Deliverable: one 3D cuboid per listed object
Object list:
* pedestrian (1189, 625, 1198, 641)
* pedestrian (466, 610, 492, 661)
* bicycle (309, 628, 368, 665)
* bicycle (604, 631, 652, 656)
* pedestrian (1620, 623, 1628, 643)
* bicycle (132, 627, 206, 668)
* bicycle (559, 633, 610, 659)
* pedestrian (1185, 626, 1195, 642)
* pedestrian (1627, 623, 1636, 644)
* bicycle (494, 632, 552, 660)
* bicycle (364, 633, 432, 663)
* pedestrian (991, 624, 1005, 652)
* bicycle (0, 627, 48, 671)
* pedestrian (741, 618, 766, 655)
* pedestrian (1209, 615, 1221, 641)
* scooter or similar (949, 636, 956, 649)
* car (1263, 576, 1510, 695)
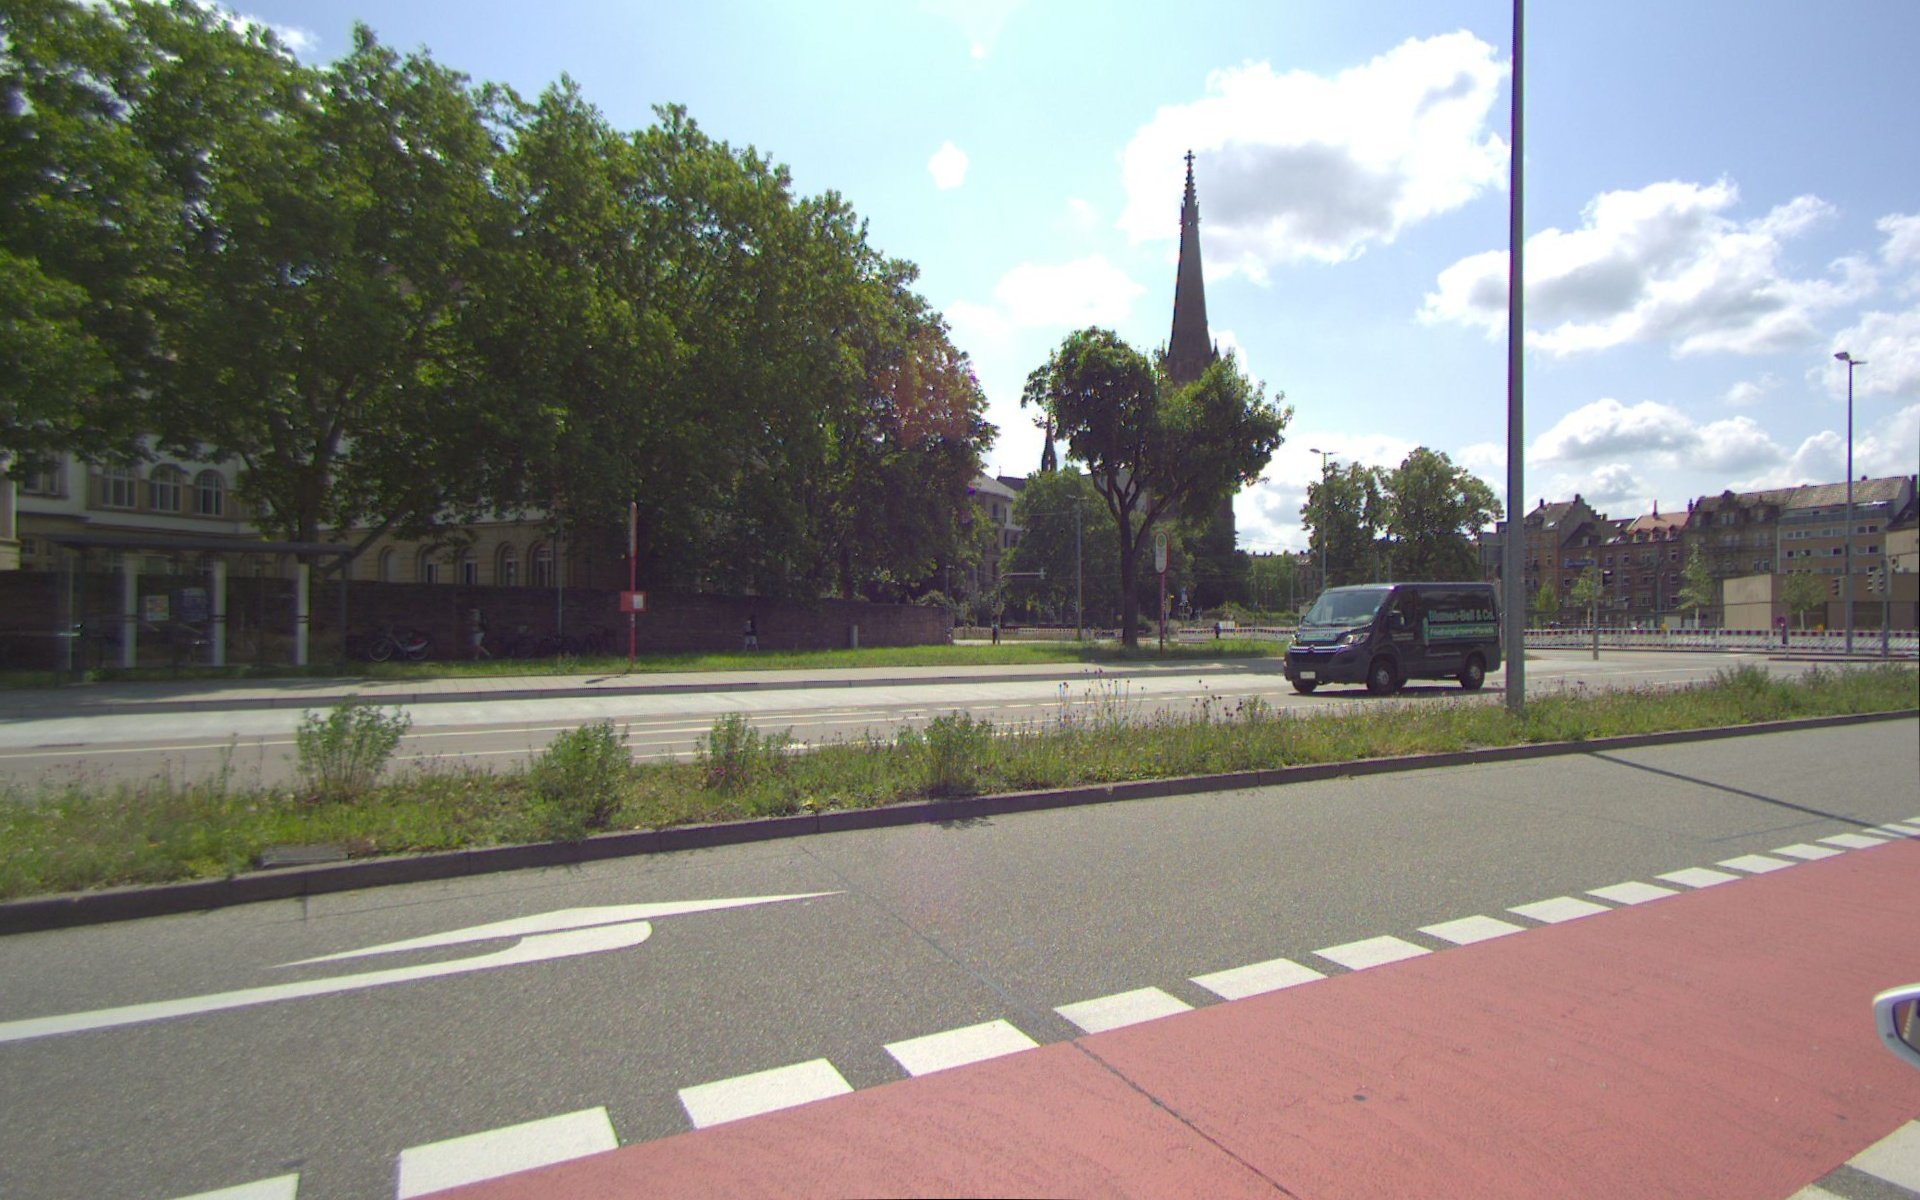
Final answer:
[{"bbox_3d":[24.915,3.558,107.185,0.842,1.685,0.751,0,-1,29],"label":"pedestrian"},{"bbox_3d":[-14.164,1.034,29.561,0.627,1.492,0.506,1,-1,-32],"label":"pedestrian"},{"bbox_3d":[-17.144,1.265,27.728,0.260,0.977,1.391,0,-1,36],"label":"bicycle"},{"bbox_3d":[-11.777,1.535,35.668,0.324,0.828,1.743,0,-1,36],"label":"bicycle"},{"bbox_3d":[56.061,2.782,84.792,0.409,1.674,0.425,2,0,4],"label":"pedestrian"},{"bbox_3d":[-19.402,1.158,24.658,0.260,0.977,1.391,0,-1,36],"label":"bicycle"},{"bbox_3d":[-12.764,1.551,34.166,0.324,0.828,1.743,0,-1,36],"label":"bicycle"},{"bbox_3d":[24.301,3.548,106.194,0.842,1.685,0.751,0,-1,29],"label":"pedestrian"},{"bbox_3d":[55.936,2.772,83.627,0.409,1.674,0.425,2,0,4],"label":"pedestrian"},{"bbox_3d":[-14.004,1.462,32.211,0.378,0.828,1.743,0,-1,36],"label":"bicycle"},{"bbox_3d":[-16.224,1.380,29.025,0.324,0.828,1.743,0,-1,36],"label":"bicycle"},{"bbox_3d":[2.818,2.808,74.685,0.713,2.040,0.721,1,-1,-32],"label":"pedestrian"},{"bbox_3d":[-21.242,1.091,22.338,0.260,0.977,1.391,0,-1,36],"label":"bicycle"},{"bbox_3d":[-7.988,1.409,38.839,0.720,1.413,0.714,1,-1,-35],"label":"pedestrian"},{"bbox_3d":[20.132,2.173,79.265,0.625,2.040,0.643,1,-1,-32],"label":"pedestrian"},{"bbox_3d":[-0.418,2.476,58.993,0.117,0.721,1.005,0,-1,17],"label":"scooter or similar"},{"bbox_3d":[8.834,0.734,20.716,4.960,2.204,2.138,1,-3,-30],"label":"car"}]
